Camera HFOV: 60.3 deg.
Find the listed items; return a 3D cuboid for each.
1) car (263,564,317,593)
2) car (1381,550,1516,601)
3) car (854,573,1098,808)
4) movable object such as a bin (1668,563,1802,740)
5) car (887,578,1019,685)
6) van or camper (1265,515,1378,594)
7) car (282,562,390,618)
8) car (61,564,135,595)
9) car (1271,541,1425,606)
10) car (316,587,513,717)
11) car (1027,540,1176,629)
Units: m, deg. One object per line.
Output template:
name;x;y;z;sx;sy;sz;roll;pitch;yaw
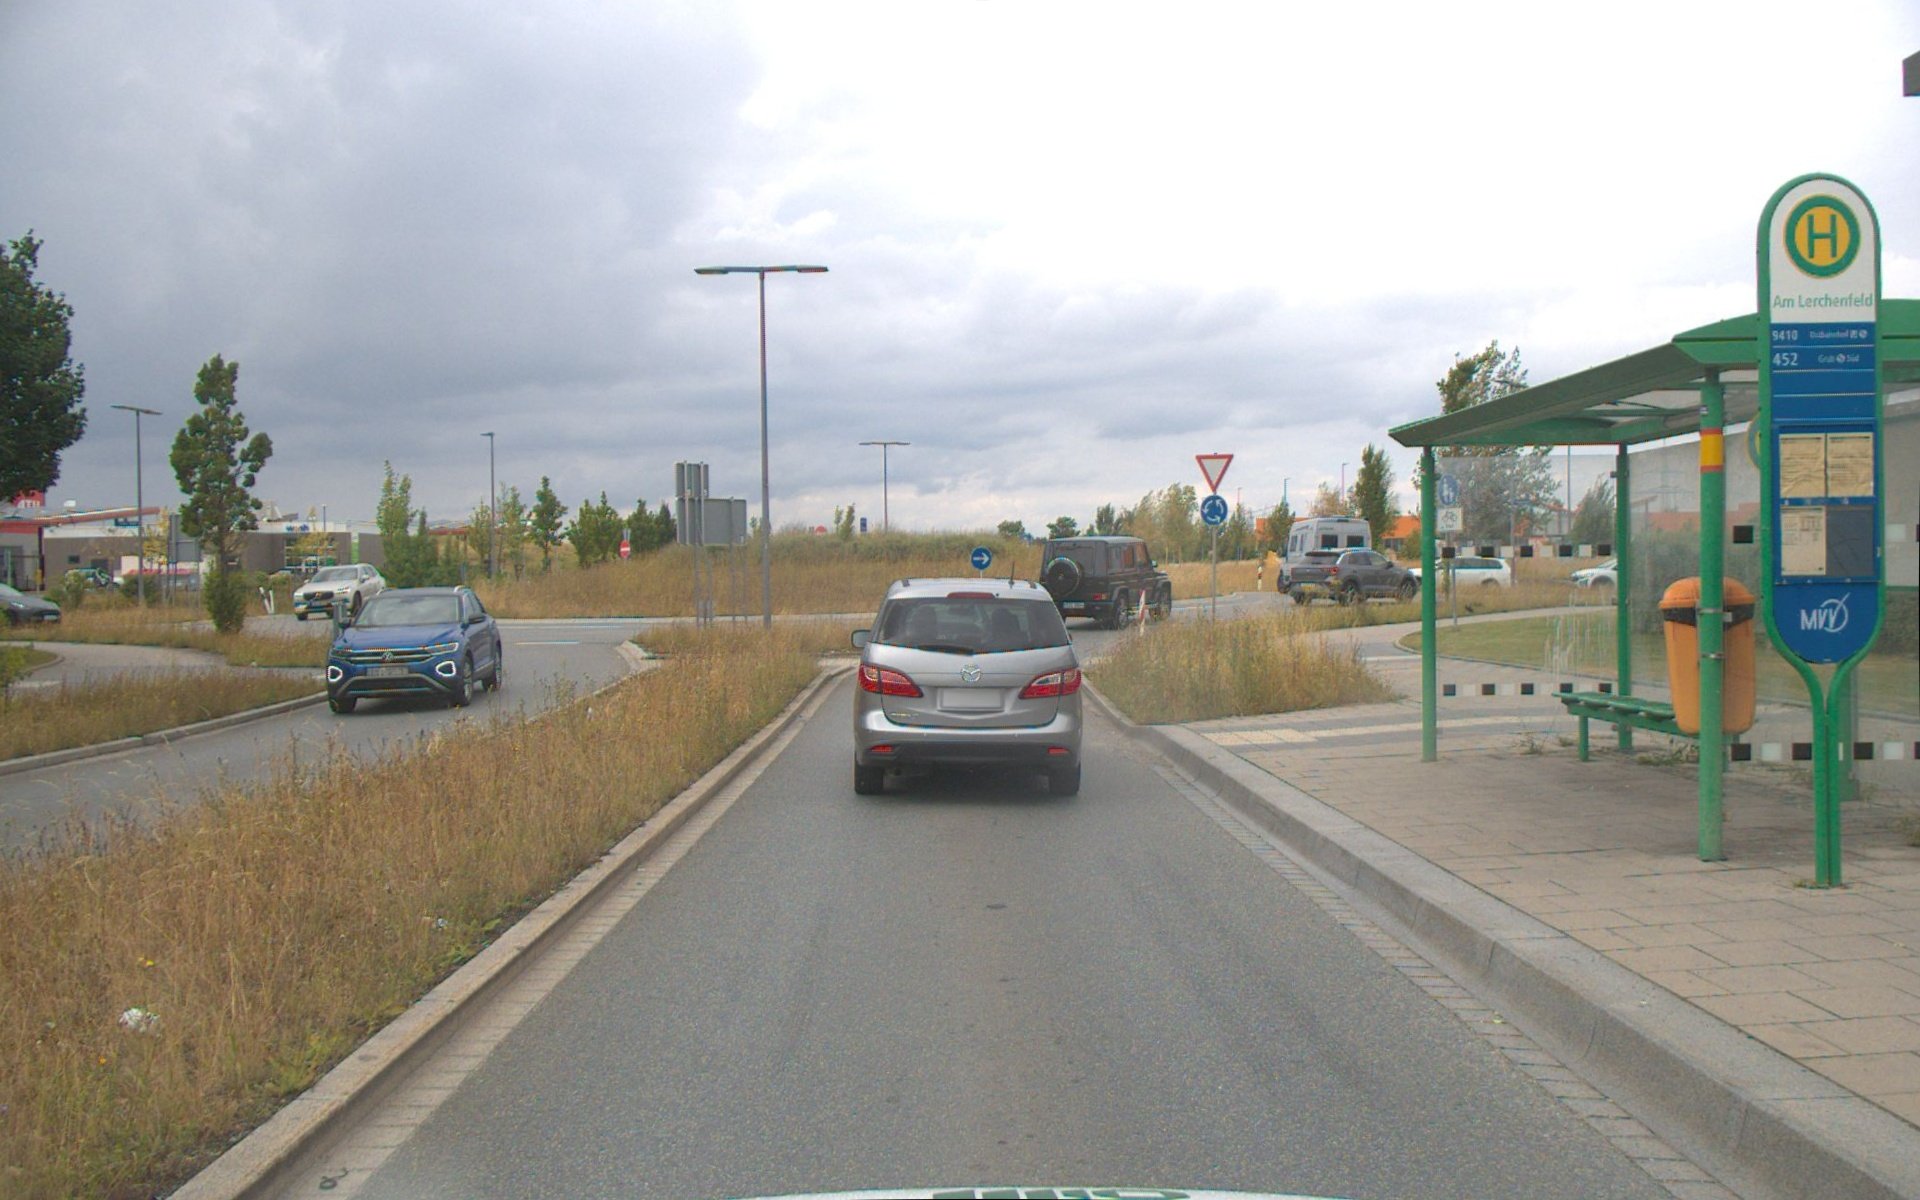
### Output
car;-44.928;-1.458;110.928;1.952;1.892;4.000;0;1;0
car;17.757;-0.886;60.273;4.503;1.788;2.002;0;0;10
car;0.057;0.601;13.419;1.695;1.628;3.806;0;1;-2
movable object such as a bin;3.657;0.237;7.819;0.446;0.812;0.380;-1;0;-1
car;-0.059;0.415;25.173;1.807;1.443;4.225;-1;1;1
van or camper;12.129;-1.499;55.876;2.258;2.549;5.199;0;1;-6
car;-19.939;-0.321;53.018;1.986;1.720;4.212;0;0;-2
car;-58.138;-1.374;111.603;3.907;2.049;1.999;0;1;-2
car;10.773;-0.744;45.792;4.164;1.620;2.036;-3;2;-39
car;-7.470;0.653;23.045;1.807;1.555;4.220;-3;0;-8
car;3.279;-0.344;37.347;2.016;1.857;4.785;0;0;22
